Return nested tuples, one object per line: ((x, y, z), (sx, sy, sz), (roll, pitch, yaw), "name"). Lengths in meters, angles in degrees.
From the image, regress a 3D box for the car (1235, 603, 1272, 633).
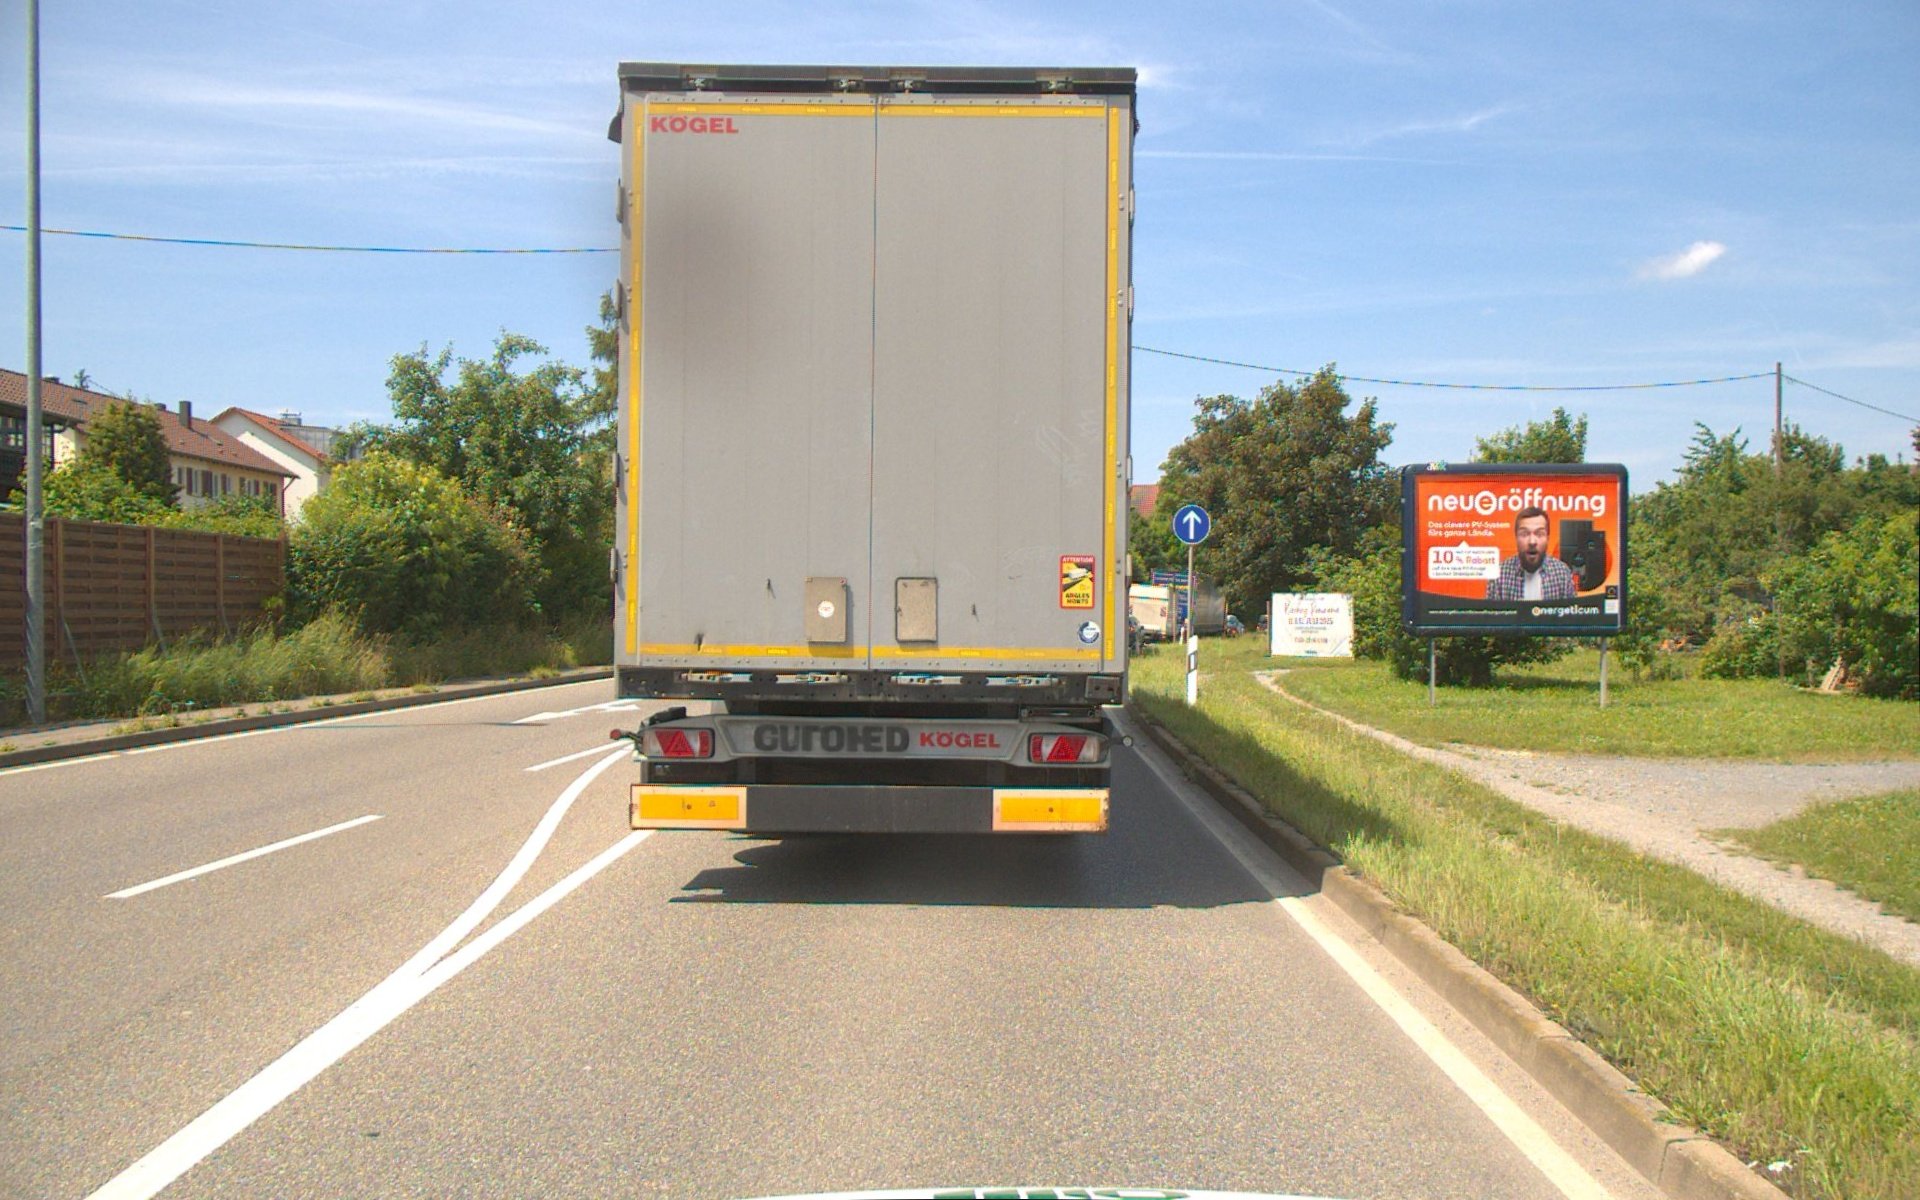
((21.191, 1.310, 119.175), (1.952, 2.049, 4.001), (1, -1, 20), "car")

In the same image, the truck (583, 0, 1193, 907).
((-0.174, -0.733, 13.382), (2.763, 4.200, 11.446), (1, 0, 2), "truck")

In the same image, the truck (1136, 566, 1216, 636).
((12.280, 0.032, 93.205), (3.360, 3.667, 9.361), (1, 0, 14), "truck")

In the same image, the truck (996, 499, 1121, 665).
((3.397, -0.369, 52.035), (2.701, 4.364, 16.426), (1, -1, 7), "truck")

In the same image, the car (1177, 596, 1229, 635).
((15.100, 0.939, 102.393), (2.478, 2.317, 6.386), (1, 0, 15), "car")

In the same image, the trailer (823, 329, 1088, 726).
((0.034, -0.787, 20.802), (2.767, 4.183, 6.545), (1, 0, 1), "trailer")

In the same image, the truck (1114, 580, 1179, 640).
((9.400, 0.539, 82.756), (2.489, 2.852, 6.036), (1, -1, 13), "truck")

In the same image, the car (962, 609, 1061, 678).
((1.171, 0.920, 35.803), (1.780, 1.370, 3.850), (1, -1, 7), "car")

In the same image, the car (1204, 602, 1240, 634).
((17.599, 1.231, 110.979), (1.951, 2.049, 4.003), (1, -1, 15), "car")

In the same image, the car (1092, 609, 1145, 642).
((7.107, 1.142, 73.788), (1.951, 1.400, 4.003), (1, -1, 11), "car")
